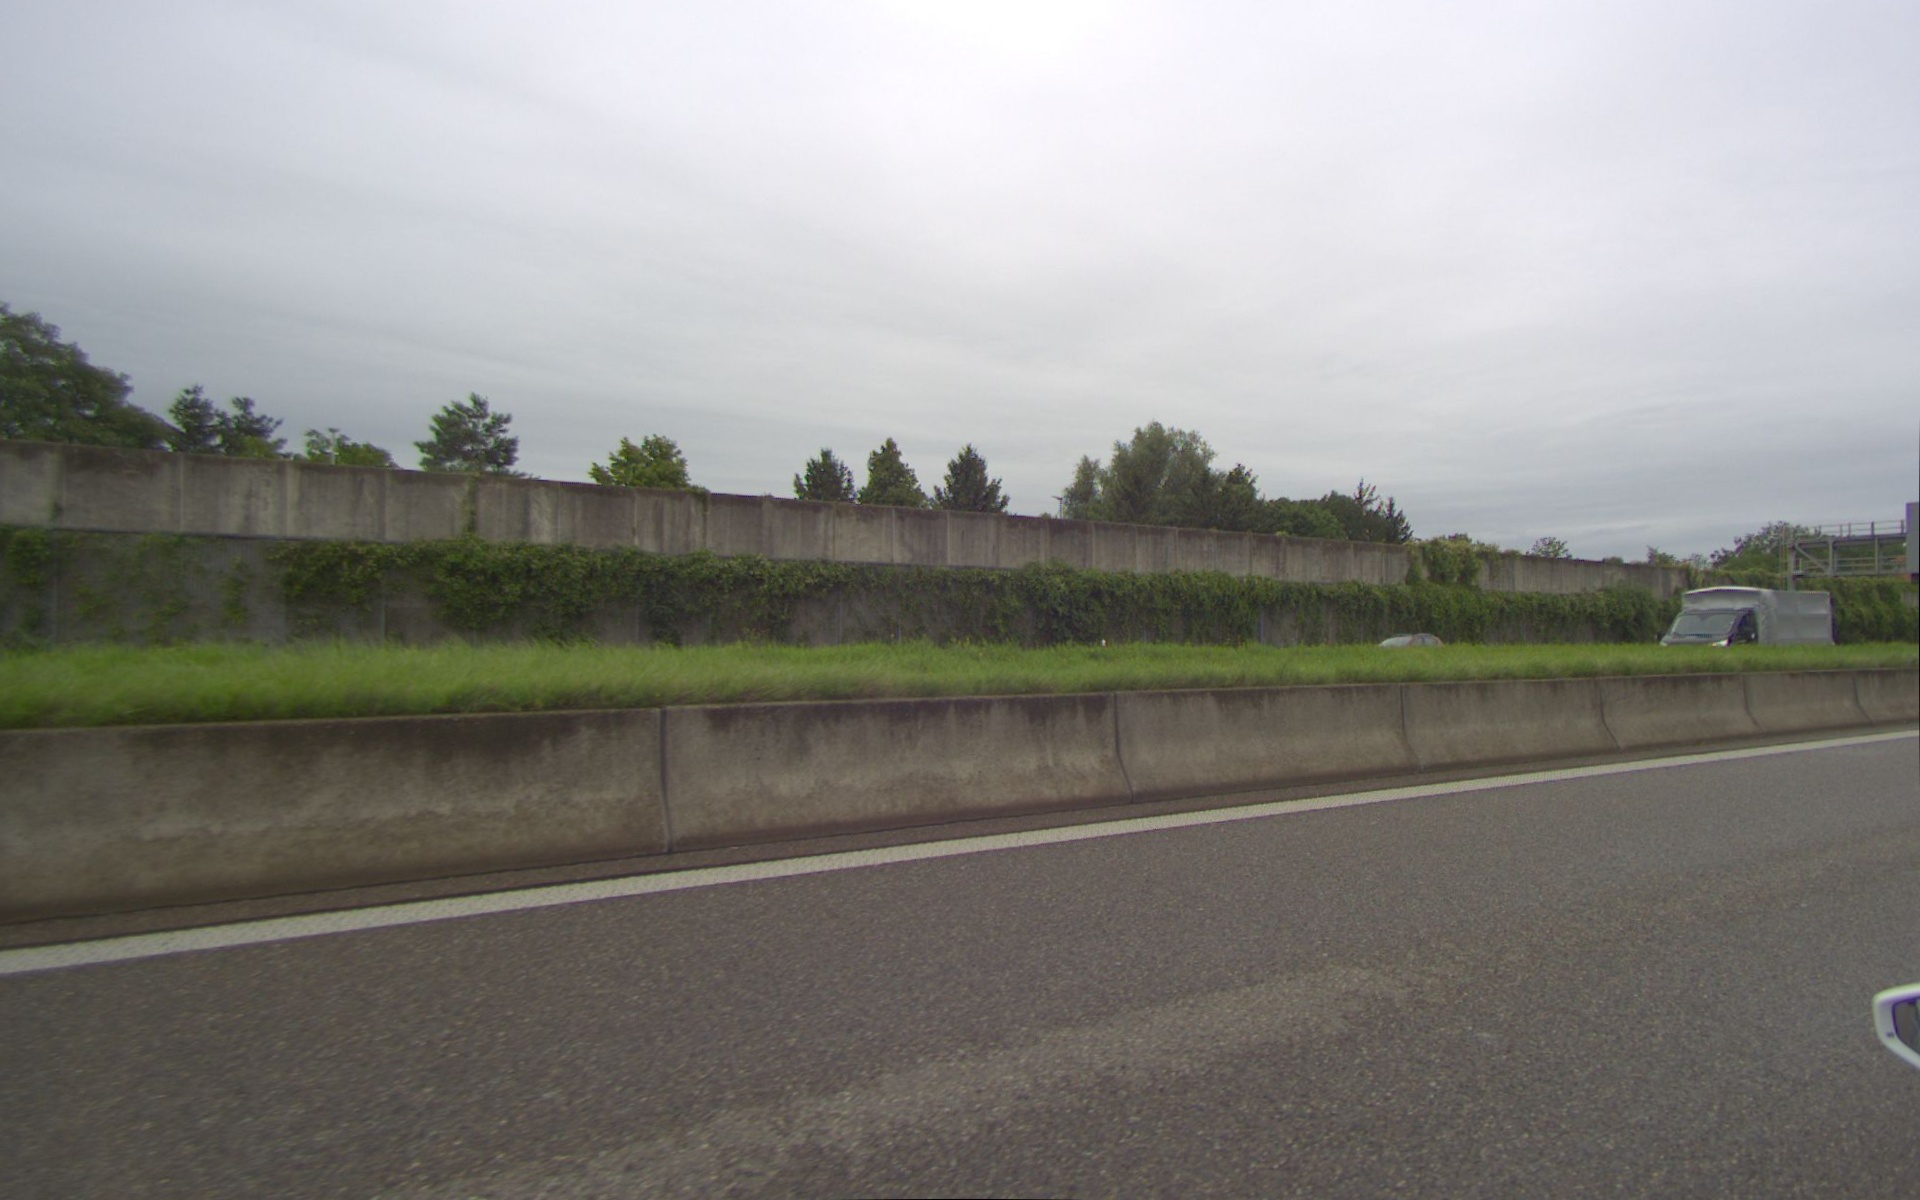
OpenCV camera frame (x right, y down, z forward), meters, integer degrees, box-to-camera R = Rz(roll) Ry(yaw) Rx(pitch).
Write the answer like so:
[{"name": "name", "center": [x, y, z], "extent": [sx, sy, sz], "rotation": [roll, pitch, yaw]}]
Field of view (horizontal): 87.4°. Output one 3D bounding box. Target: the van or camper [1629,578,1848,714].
[{"name": "van or camper", "center": [25.511, 1.455, 32.775], "extent": [8.303, 4.001, 2.695], "rotation": [2, 0, -30]}]

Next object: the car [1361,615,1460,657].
[{"name": "car", "center": [18.596, 1.497, 41.439], "extent": [4.019, 1.628, 1.611], "rotation": [2, 0, -29]}]
